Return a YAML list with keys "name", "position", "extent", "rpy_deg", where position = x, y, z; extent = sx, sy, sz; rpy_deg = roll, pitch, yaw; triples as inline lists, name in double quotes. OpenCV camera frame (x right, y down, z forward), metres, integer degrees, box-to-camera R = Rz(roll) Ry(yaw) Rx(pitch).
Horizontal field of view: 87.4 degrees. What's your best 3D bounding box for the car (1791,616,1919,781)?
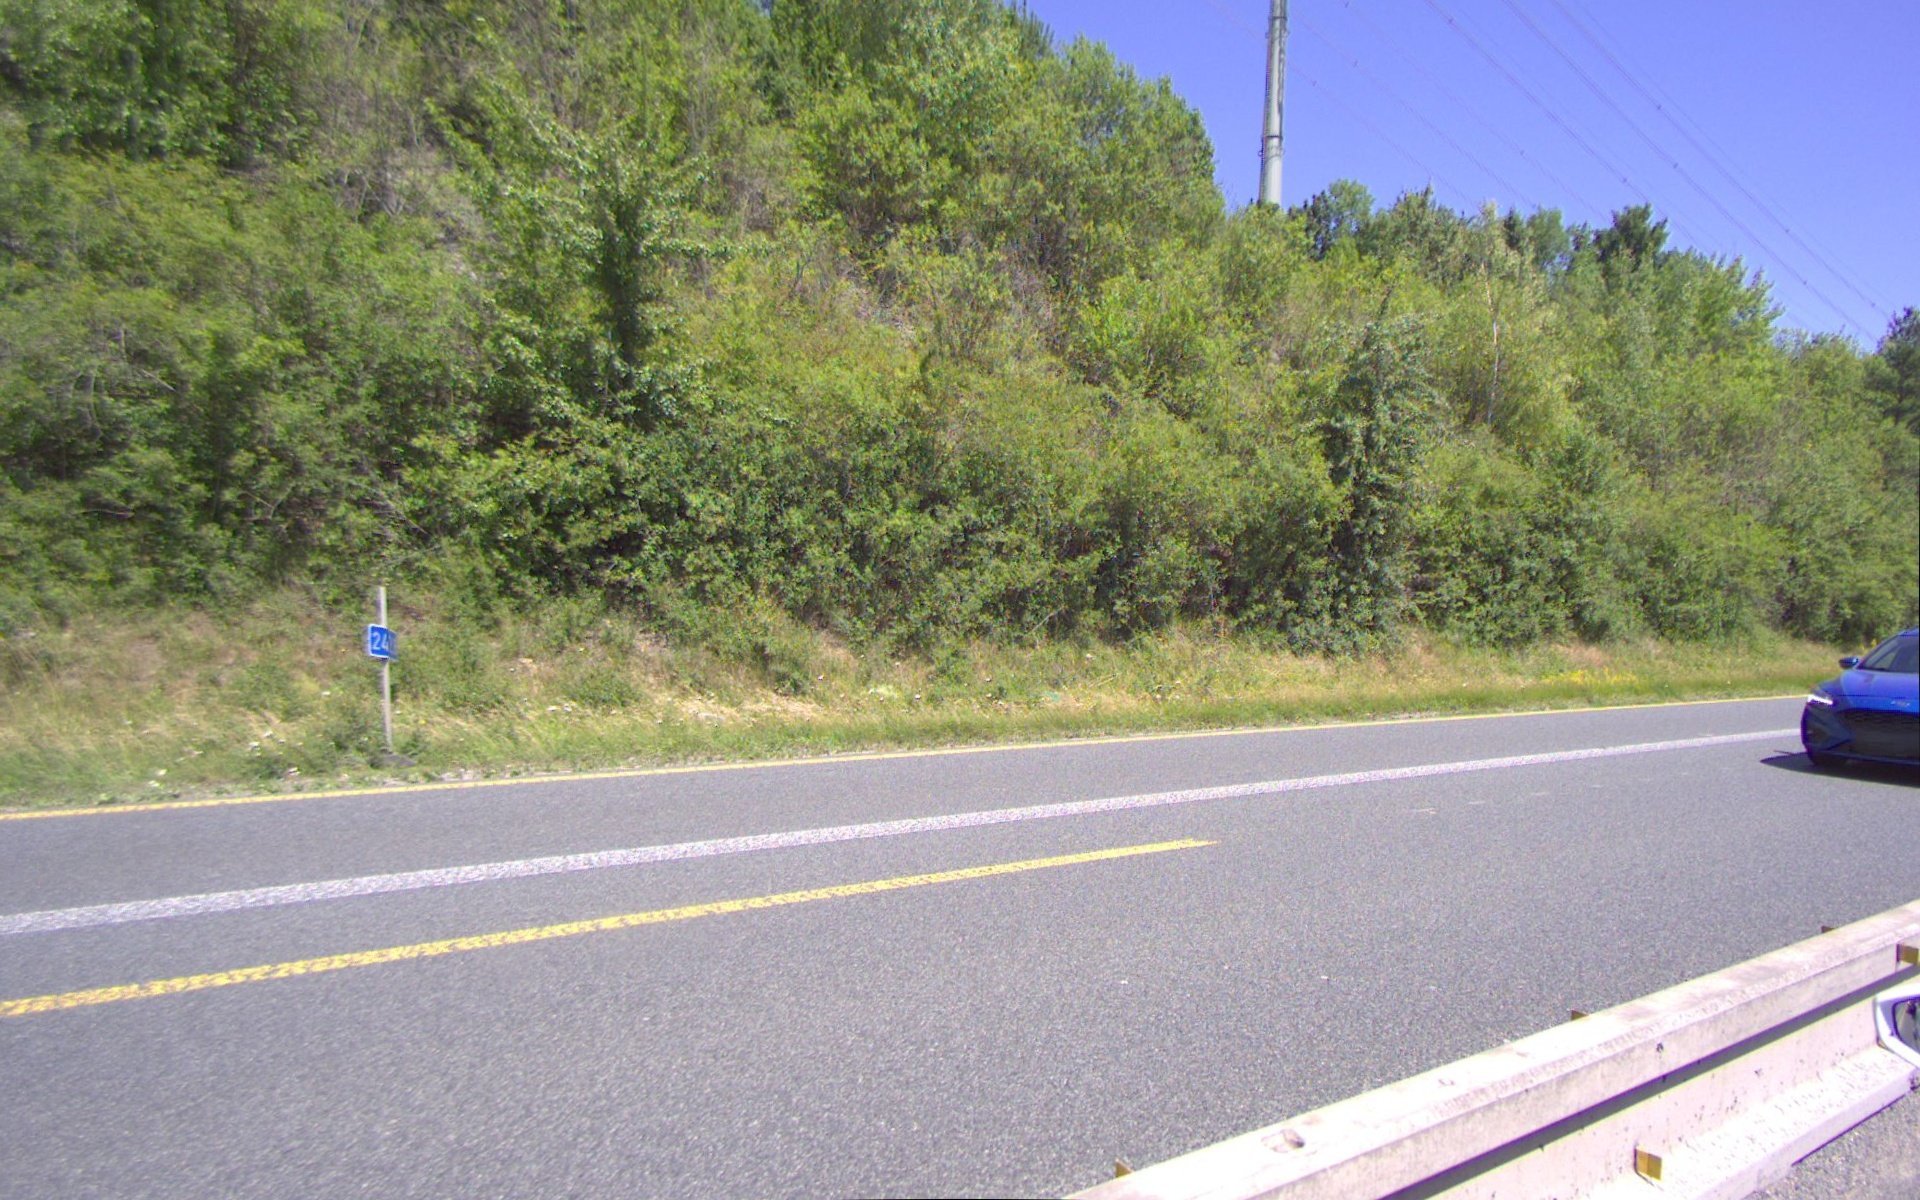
- name: "car"
  position: [10.281, 0.947, 10.099]
  extent: [4.123, 1.444, 1.703]
  rpy_deg: [2, 0, -32]
